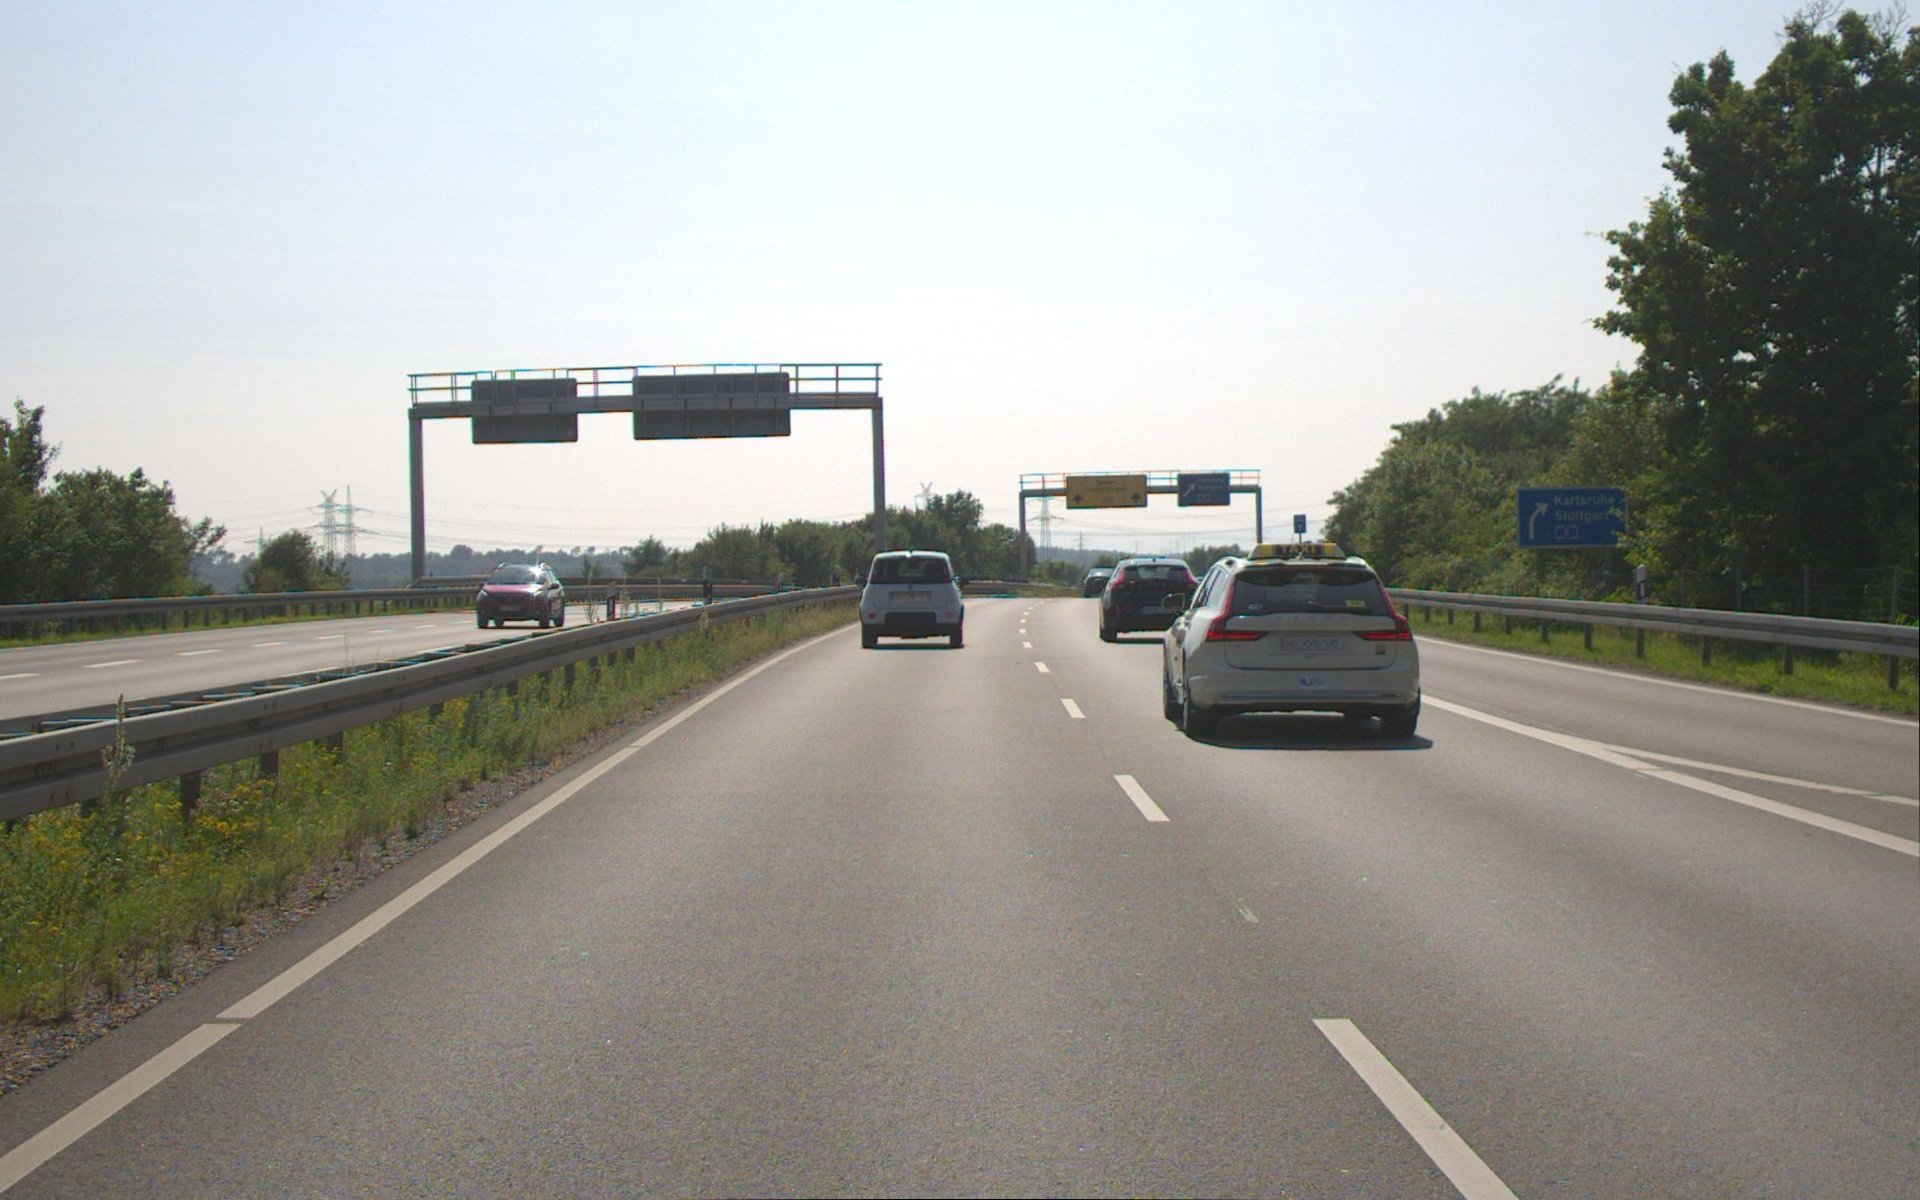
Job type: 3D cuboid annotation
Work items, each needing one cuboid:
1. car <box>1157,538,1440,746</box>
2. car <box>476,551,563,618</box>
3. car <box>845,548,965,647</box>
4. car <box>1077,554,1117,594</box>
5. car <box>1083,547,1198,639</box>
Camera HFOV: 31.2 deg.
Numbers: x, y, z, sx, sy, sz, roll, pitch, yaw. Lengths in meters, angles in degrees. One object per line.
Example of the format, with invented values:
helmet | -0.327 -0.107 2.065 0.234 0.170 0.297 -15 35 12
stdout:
car | 2.749 0.304 28.777 1.958 1.596 4.107 1 1 0
car | -10.715 -0.399 83.808 1.642 1.569 4.265 1 1 -1
car | -0.864 -0.024 56.232 1.793 1.498 4.043 -2 -1 1
car | 6.974 -1.322 175.758 1.993 2.007 4.000 1 1 2
car | 3.098 -0.104 59.638 1.793 1.538 3.671 0 0 0
